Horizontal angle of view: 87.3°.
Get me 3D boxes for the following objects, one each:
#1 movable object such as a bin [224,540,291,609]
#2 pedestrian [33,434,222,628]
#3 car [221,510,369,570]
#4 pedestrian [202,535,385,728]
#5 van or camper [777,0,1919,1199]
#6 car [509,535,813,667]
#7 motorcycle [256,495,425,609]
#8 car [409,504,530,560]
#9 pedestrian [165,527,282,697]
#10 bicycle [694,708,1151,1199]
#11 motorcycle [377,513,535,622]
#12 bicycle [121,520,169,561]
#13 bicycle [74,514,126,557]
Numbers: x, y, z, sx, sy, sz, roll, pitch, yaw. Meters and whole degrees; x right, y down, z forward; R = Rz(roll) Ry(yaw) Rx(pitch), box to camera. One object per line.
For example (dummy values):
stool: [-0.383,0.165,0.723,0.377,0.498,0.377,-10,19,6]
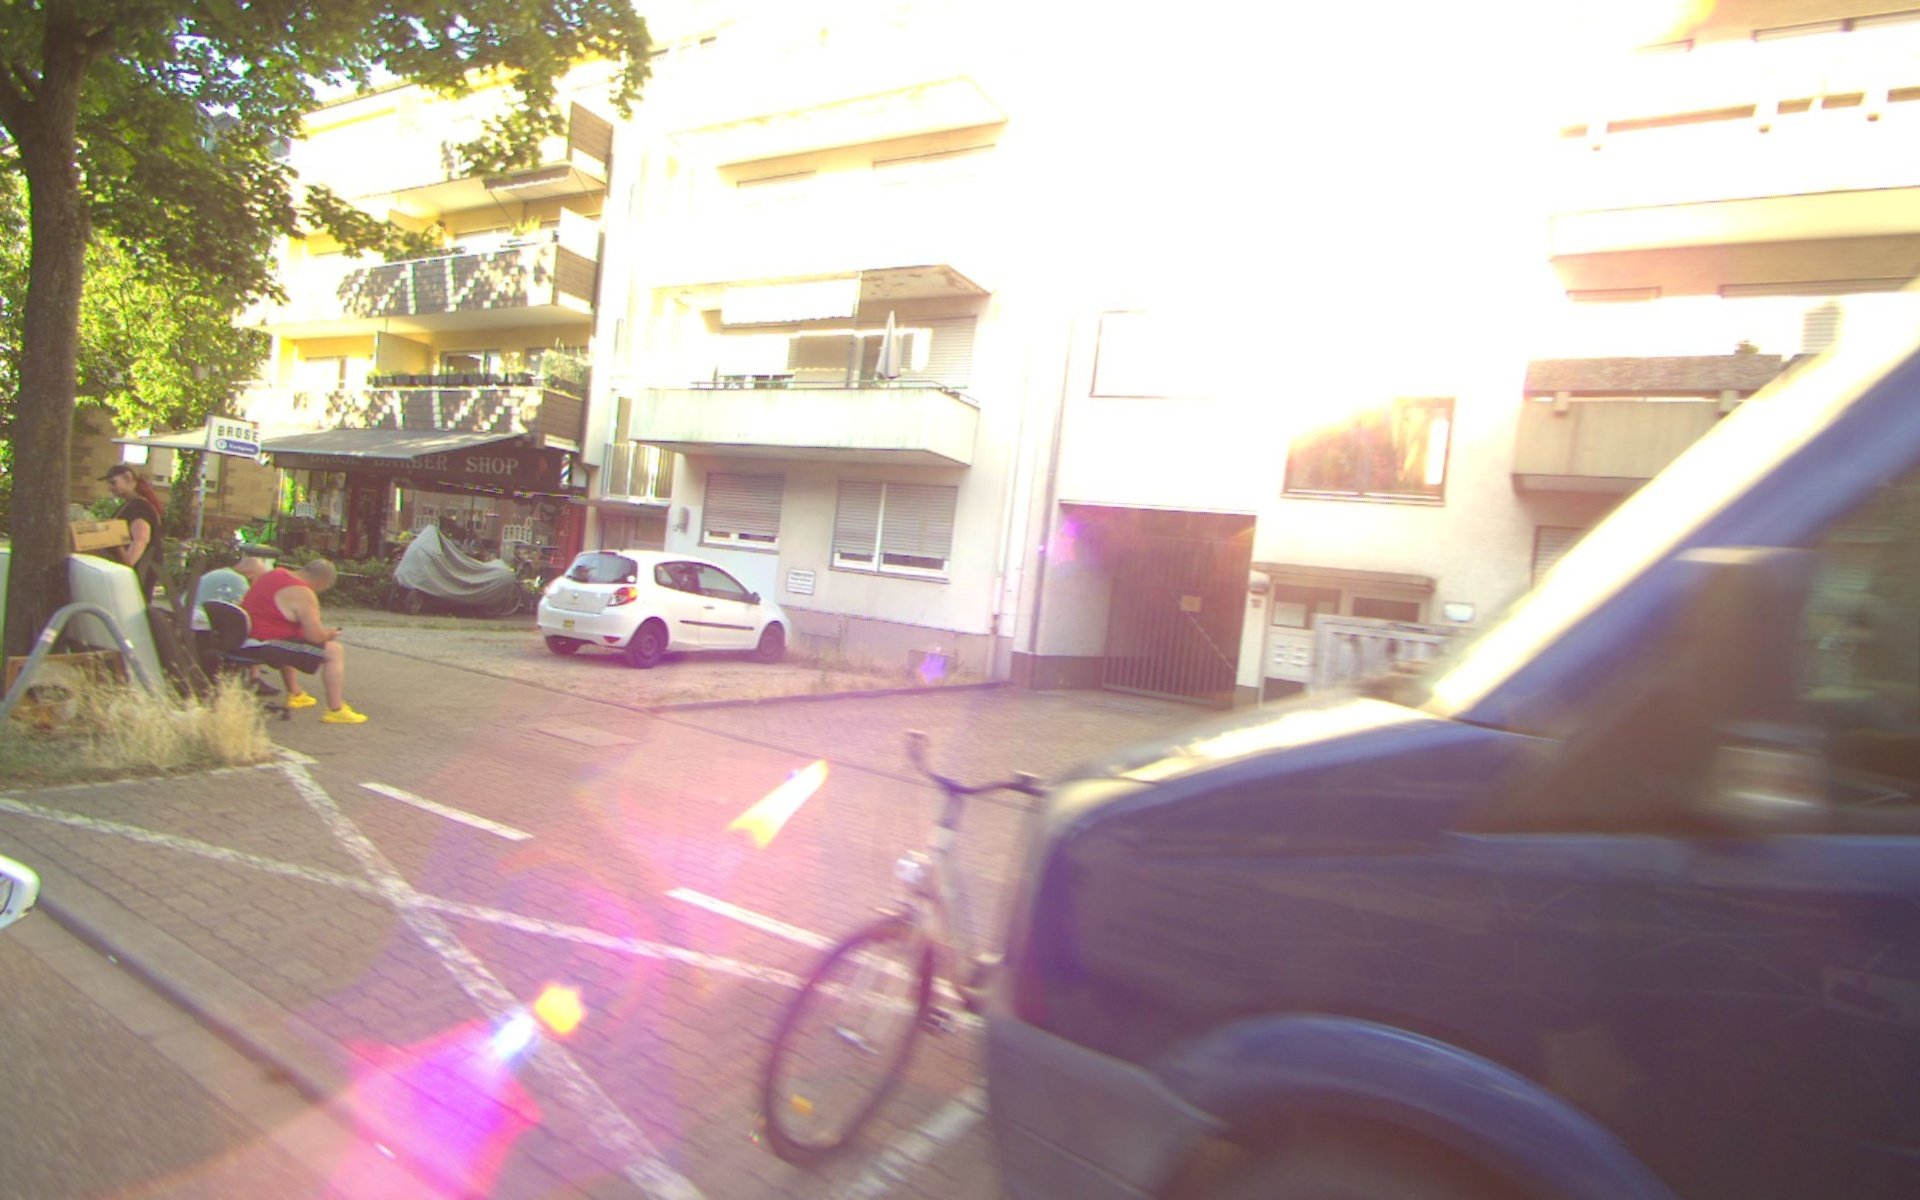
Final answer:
movable object such as a bin: [-10.708,-0.382,15.344,0.530,0.961,0.613,8,2,32]
pedestrian: [-6.993,-0.538,8.502,0.470,1.495,1.065,7,1,12]
car: [-23.808,-2.125,36.149,1.897,1.605,3.921,7,1,32]
pedestrian: [-4.869,0.225,7.371,0.688,1.270,0.798,7,1,29]
van or camper: [2.772,0.461,1.269,5.890,2.709,2.069,6,1,32]
car: [-4.084,0.092,14.426,1.793,1.480,3.994,7,1,28]
motorcycle: [-10.355,-0.764,16.894,0.720,1.642,2.193,8,1,37]
car: [-17.079,-2.340,35.160,1.633,1.436,3.349,7,1,32]
pedestrian: [-5.975,0.095,8.165,0.649,1.270,0.650,6,2,-38]
bicycle: [0.013,0.937,3.157,0.398,1.103,1.702,8,1,34]
motorcycle: [-8.794,-0.532,17.635,0.876,1.642,2.193,8,1,37]
bicycle: [-21.672,-1.589,26.740,1.554,0.963,0.342,7,4,26]
bicycle: [-22.558,-1.695,26.376,1.554,0.961,0.343,7,-1,26]
